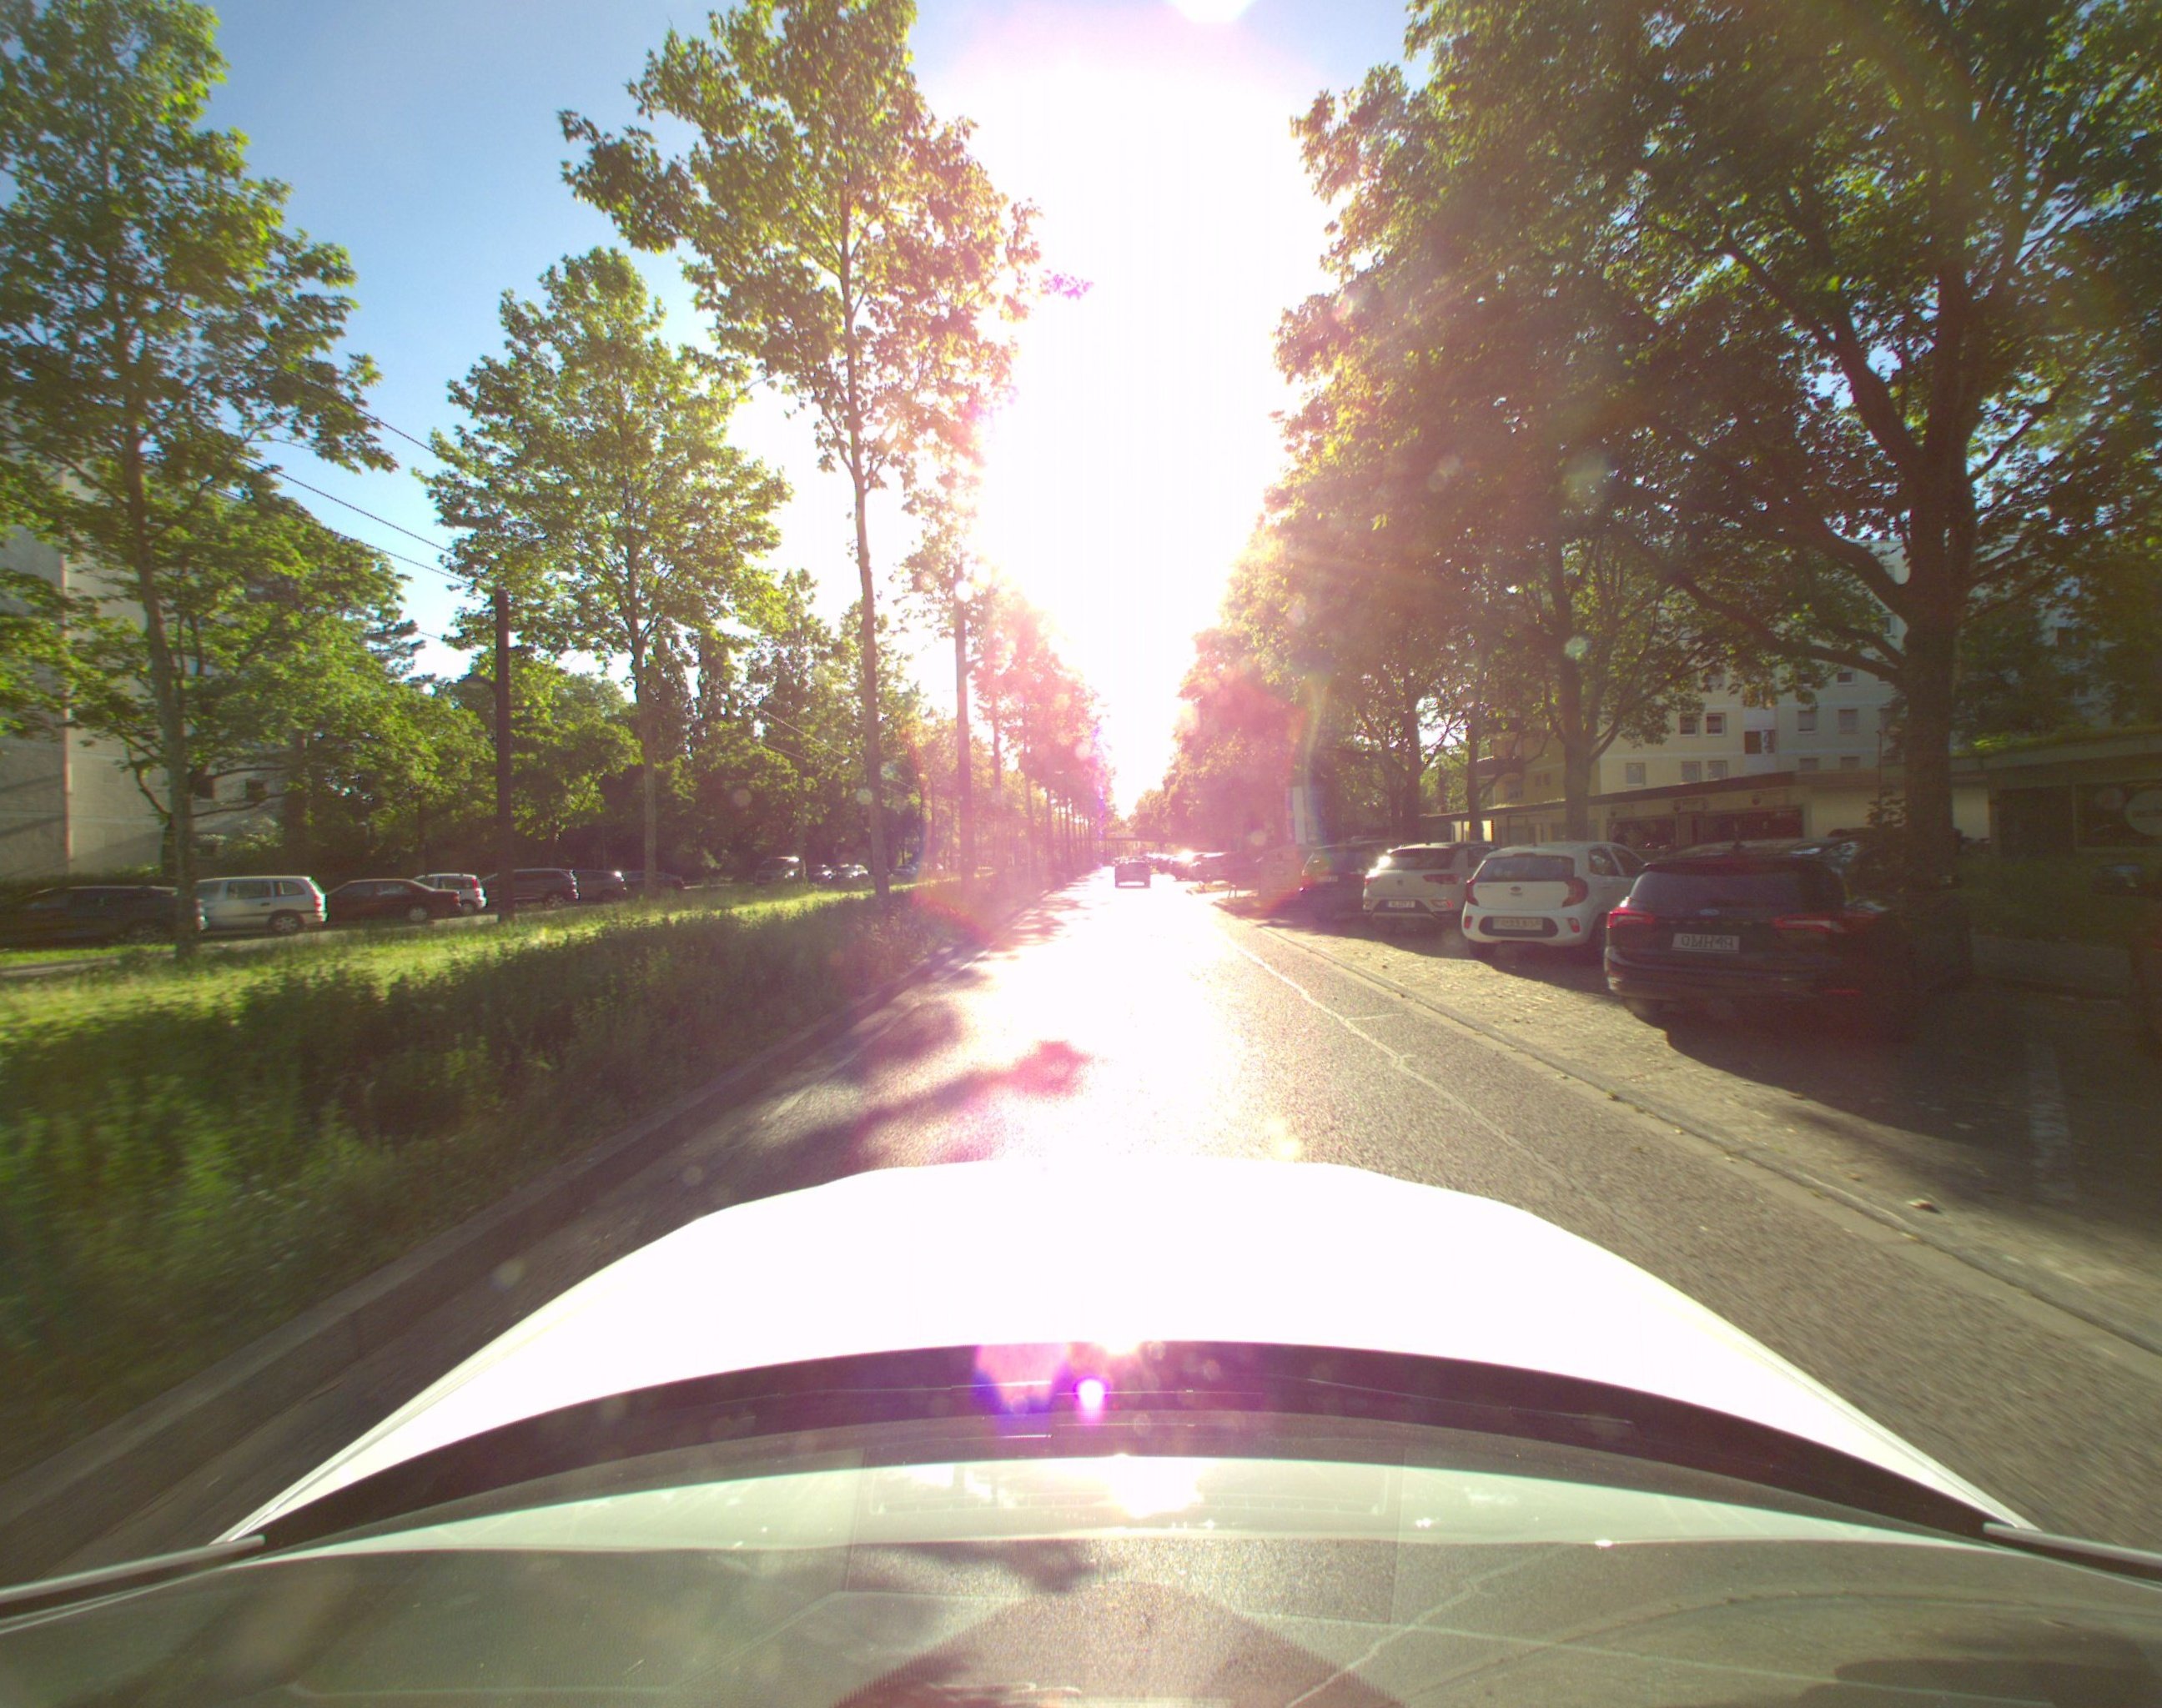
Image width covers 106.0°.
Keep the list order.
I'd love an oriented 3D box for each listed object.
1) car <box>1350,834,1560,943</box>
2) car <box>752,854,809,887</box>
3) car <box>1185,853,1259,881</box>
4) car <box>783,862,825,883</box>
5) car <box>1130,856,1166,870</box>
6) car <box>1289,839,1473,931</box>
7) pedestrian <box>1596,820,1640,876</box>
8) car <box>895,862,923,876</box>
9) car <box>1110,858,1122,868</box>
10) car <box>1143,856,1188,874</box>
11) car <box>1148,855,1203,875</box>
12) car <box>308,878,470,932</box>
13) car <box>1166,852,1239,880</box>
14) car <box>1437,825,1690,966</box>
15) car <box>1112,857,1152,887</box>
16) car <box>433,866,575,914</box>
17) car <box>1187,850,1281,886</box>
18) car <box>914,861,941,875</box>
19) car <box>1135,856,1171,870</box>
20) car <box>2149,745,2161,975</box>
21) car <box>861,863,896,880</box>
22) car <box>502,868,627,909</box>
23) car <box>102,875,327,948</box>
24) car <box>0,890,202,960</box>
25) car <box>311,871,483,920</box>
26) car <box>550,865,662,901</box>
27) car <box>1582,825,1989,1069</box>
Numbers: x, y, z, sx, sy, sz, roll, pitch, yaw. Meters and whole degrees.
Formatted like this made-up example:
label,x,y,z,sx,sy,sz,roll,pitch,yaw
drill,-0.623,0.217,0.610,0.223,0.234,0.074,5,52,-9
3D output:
label,x,y,z,sx,sy,sz,roll,pitch,yaw
car,6.688,0.524,14.369,4.107,1.582,1.760,-3,0,-41
car,-20.336,1.122,55.334,1.638,2.093,4.919,1,-2,4
car,7.849,0.714,45.182,4.353,1.297,1.671,-3,0,-42
car,-20.635,1.340,60.806,1.638,1.453,3.667,1,0,4
car,8.745,1.128,106.005,4.648,1.769,1.835,0,-1,-41
car,6.546,0.586,17.584,4.341,1.717,1.617,-2,0,-37
pedestrian,18.871,-0.197,28.635,0.871,1.914,0.869,-2,0,-7
car,-18.644,1.621,88.369,1.985,1.453,4.004,1,0,4
car,5.724,1.376,132.692,1.842,1.535,3.869,-2,0,2
car,8.559,1.085,82.266,4.648,1.680,1.835,0,-1,-41
car,7.764,0.902,66.660,4.651,1.459,1.955,-1,-1,-44
car,-22.595,1.611,26.677,3.943,1.487,1.773,-1,-1,-44
car,7.214,0.683,48.138,4.353,1.424,1.834,-3,0,-42
car,6.851,0.458,11.399,4.107,1.582,1.760,-3,0,-41
car,2.537,0.873,40.905,1.914,1.411,4.003,-1,0,3
car,-23.250,1.421,32.894,4.511,1.675,1.774,-2,-1,-41
car,7.137,0.628,37.734,4.519,1.443,1.834,-3,0,-42
car,-18.004,1.624,95.664,1.985,1.590,4.172,1,0,4
car,9.163,1.117,103.024,4.648,1.680,1.835,0,-1,-41
car,5.901,0.339,3.385,4.105,1.811,1.632,-3,0,-38
car,-18.986,1.604,76.498,1.985,1.453,4.004,1,0,4
car,-23.091,1.514,36.516,4.511,1.568,1.774,-2,-1,-41
car,-23.551,1.501,22.380,3.999,1.675,1.766,-2,-1,-39
car,-23.448,1.627,18.834,1.773,1.337,4.156,-1,0,44
car,-24.131,1.425,28.970,4.505,1.481,1.600,-2,-1,-35
car,-23.349,1.404,40.113,4.511,1.568,1.774,-2,-1,-41
car,6.233,0.581,7.067,4.102,1.481,1.633,-3,0,-34
